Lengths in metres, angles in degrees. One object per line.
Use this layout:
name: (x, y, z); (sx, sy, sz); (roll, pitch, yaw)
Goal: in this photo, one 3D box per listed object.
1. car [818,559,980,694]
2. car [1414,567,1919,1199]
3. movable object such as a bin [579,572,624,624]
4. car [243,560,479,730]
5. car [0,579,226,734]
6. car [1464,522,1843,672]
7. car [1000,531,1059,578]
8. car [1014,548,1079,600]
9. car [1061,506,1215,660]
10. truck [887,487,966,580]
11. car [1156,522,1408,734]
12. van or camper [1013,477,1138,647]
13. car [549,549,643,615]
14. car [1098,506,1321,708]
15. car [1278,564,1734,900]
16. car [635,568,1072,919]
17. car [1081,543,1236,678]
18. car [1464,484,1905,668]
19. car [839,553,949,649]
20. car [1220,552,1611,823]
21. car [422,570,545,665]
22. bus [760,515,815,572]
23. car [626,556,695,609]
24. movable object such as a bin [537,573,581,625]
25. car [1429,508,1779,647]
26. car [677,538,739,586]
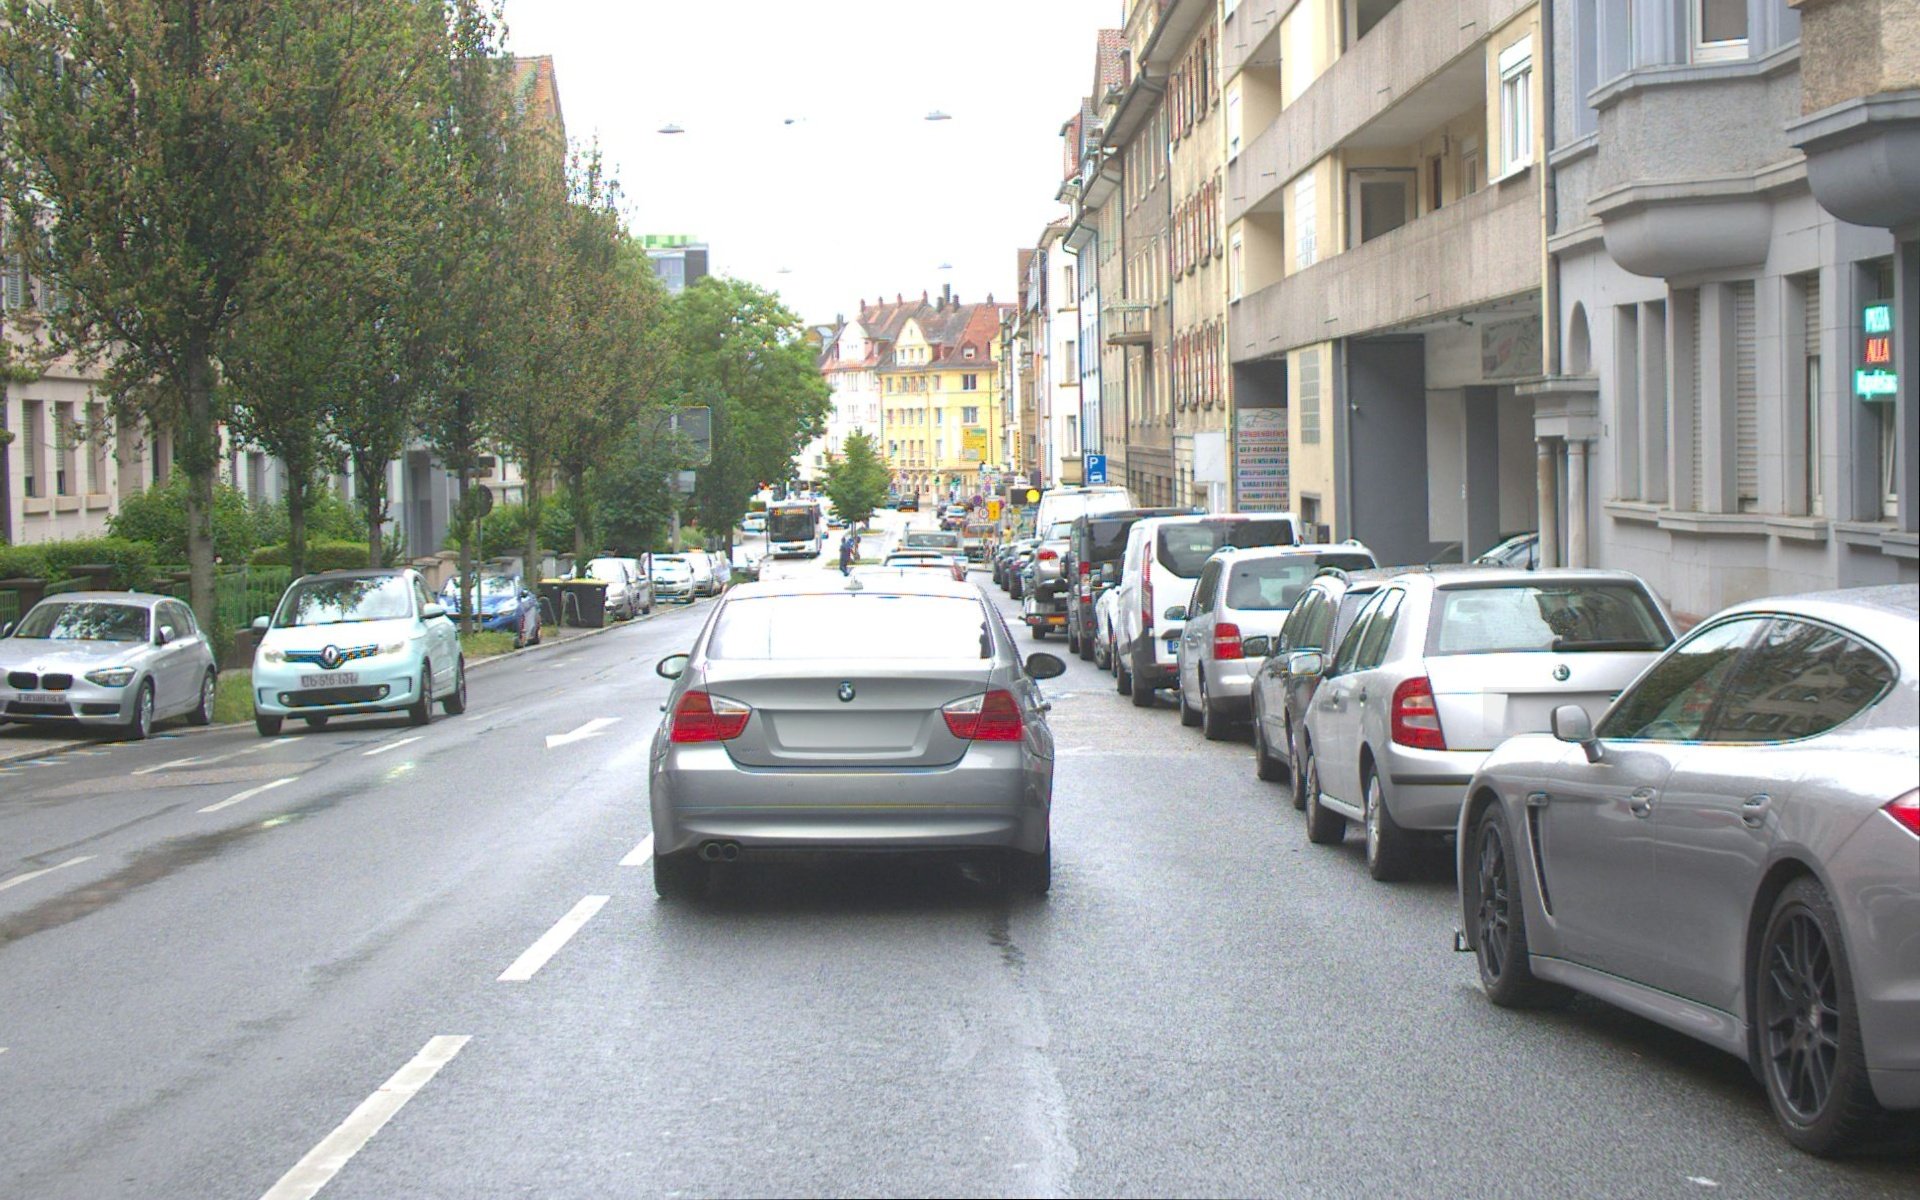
car: (-0.640, 0.265, 38.320); (1.682, 1.423, 3.741); (1, 1, 1)
car: (2.826, 0.642, 9.973); (1.875, 1.462, 4.776); (0, 1, -7)
movable object such as a bin: (-8.131, -0.041, 78.016); (0.935, 1.164, 0.909); (0, 1, 0)
car: (-5.931, 0.405, 34.413); (1.636, 1.503, 3.755); (-4, 1, 0)
car: (-8.902, 0.538, 35.537); (1.726, 1.478, 3.989); (1, 0, 1)
car: (8.198, -0.039, 40.715); (4.289, 1.635, 1.666); (-1, 2, 12)
car: (2.218, -1.452, 110.463); (1.697, 1.478, 3.975); (1, 0, -1)
car: (2.515, -0.768, 100.764); (1.697, 1.478, 3.975); (1, 0, -1)
car: (2.646, -0.284, 52.055); (1.982, 2.158, 4.750); (-2, 1, 0)
truck: (-0.913, -1.750, 92.092); (2.032, 2.404, 4.827); (1, 0, -1)
car: (2.784, 0.199, 30.585); (1.726, 1.664, 4.288); (-3, 1, 0)
van or camper: (2.172, -0.710, 62.657); (2.033, 2.859, 6.884); (2, 1, 3)
car: (-9.049, -0.460, 85.765); (1.827, 1.518, 3.736); (-3, 1, 1)
car: (2.641, 0.041, 37.414); (1.982, 2.000, 4.625); (-2, 1, 0)
car: (2.611, 0.567, 17.274); (1.611, 1.469, 4.016); (0, 1, 0)
car: (-0.536, 0.574, 15.898); (1.769, 1.423, 3.741); (0, 0, -3)
car: (2.606, 0.100, 45.941); (1.726, 1.664, 4.288); (-2, 1, 0)
car: (7.619, -0.259, 36.040); (4.329, 1.798, 2.005); (-1, 3, 17)
car: (-1.071, 0.006, 55.657); (1.697, 1.478, 3.794); (1, 0, -1)
car: (2.875, 0.484, 22.709); (1.900, 1.473, 4.798); (-4, 1, 1)
car: (-8.845, 0.300, 64.123); (1.766, 1.588, 4.000); (-3, 1, -1)
bus: (-9.643, -3.177, 193.298); (2.668, 3.014, 7.671); (-2, 1, 0)
car: (-9.211, -0.549, 106.050); (1.691, 1.518, 3.736); (-3, 1, 1)
movable object such as a bin: (-9.096, -0.019, 78.020); (0.902, 1.164, 0.895); (0, 1, 0)
car: (8.210, -0.289, 43.815); (4.289, 1.635, 1.666); (-1, 2, 12)
car: (-8.515, -1.297, 116.373); (1.691, 1.518, 3.736); (-3, 1, 1)
